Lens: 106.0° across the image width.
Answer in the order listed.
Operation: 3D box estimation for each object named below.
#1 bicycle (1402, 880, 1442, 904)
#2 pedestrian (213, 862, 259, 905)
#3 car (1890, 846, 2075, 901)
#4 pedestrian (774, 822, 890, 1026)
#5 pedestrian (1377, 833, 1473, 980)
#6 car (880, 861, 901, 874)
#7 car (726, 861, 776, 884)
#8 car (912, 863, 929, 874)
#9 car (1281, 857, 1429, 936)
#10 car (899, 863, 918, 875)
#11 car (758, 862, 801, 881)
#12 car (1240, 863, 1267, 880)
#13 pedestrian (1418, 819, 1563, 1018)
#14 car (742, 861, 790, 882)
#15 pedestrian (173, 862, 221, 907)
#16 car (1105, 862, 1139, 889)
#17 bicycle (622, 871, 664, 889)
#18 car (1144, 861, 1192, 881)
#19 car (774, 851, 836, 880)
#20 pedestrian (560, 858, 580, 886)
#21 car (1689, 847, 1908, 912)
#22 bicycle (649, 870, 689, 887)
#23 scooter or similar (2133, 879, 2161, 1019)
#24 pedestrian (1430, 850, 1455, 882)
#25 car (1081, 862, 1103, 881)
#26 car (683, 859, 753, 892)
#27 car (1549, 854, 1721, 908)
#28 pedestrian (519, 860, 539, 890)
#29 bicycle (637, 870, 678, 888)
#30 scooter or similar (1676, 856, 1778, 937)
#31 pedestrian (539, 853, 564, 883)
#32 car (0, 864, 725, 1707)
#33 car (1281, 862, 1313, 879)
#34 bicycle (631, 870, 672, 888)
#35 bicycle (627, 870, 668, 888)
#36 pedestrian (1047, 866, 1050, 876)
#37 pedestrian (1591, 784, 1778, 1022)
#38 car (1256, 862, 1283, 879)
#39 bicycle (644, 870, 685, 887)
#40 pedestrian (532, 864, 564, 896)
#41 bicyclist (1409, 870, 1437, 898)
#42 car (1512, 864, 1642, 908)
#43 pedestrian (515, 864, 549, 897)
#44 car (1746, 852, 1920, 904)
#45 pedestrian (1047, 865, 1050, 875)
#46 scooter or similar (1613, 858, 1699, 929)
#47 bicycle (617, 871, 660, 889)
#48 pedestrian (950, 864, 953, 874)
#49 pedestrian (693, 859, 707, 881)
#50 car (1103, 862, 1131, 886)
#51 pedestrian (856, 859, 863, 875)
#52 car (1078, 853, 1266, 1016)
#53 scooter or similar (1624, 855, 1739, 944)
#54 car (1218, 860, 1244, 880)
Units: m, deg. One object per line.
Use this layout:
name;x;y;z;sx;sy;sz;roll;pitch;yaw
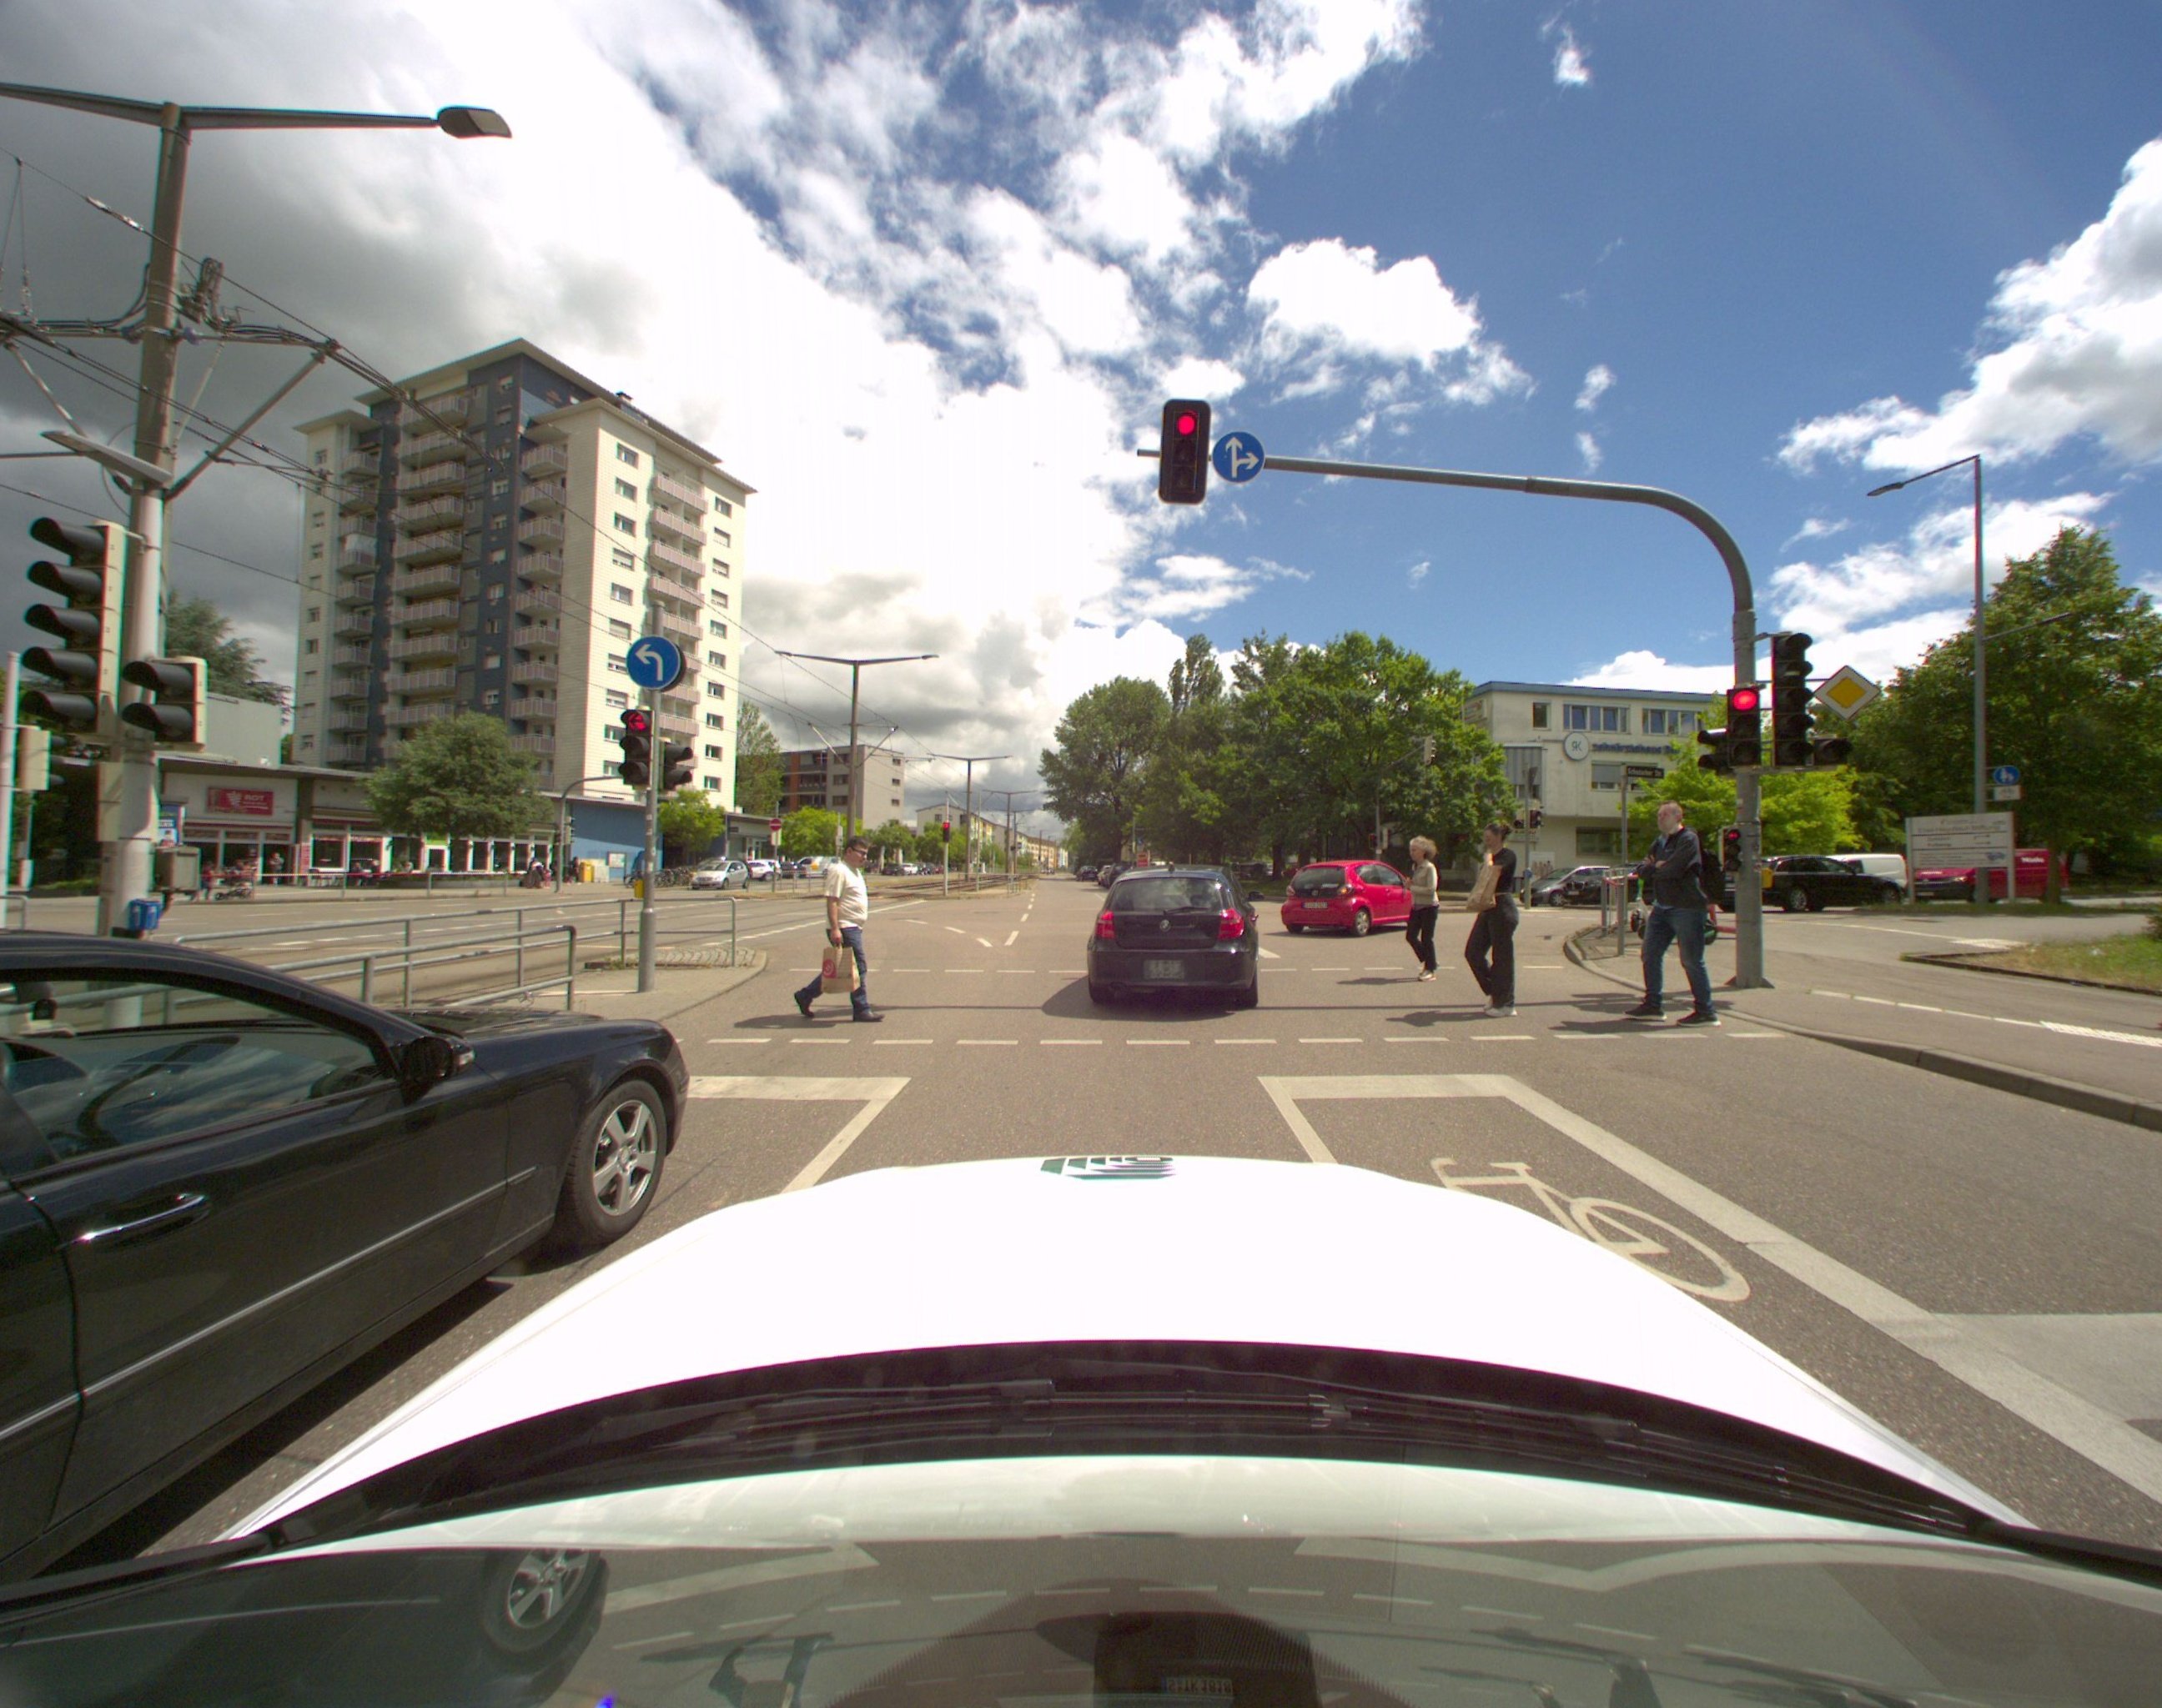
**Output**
bicycle;12.505;1.384;29.903;0.788;0.819;1.808;0;0;2
pedestrian;-32.958;1.139;31.755;0.957;1.659;1.002;-1;-1;28
car;31.860;0.701;28.857;4.800;1.864;1.994;0;-2;-8
pedestrian;-2.294;0.619;7.599;0.866;1.808;0.741;0;0;-2
pedestrian;4.126;0.613;9.842;0.945;1.674;0.874;-1;-1;17
car;-21.794;1.567;93.502;1.758;1.395;3.993;0;0;-5
car;-24.479;1.339;60.398;4.165;1.570;1.973;0;-1;45
car;-21.128;1.903;107.478;1.758;1.395;3.993;0;0;-5
car;5.609;0.784;16.531;3.214;1.441;1.528;0;0;-43
car;-21.357;1.805;100.887;1.758;1.395;3.993;0;0;-5
car;-24.747;1.416;66.789;1.800;1.420;4.166;0;-1;-43
car;16.176;1.622;76.536;1.626;1.573;4.030;0;0;-1
pedestrian;3.858;0.573;7.719;0.933;1.765;0.769;-1;0;-10
car;-24.638;1.336;63.651;4.165;1.538;1.973;0;-1;45
pedestrian;-33.348;1.132;30.734;0.957;1.659;1.002;-1;-1;28
car;2.680;1.398;53.522;2.144;1.684;4.001;0;-1;2
bicycle;-23.345;1.358;43.405;1.943;0.935;0.494;0;-1;-5
car;8.012;1.569;74.918;4.001;1.823;1.766;0;-1;-21
car;-24.446;0.976;71.917;2.848;2.478;6.642;0;-1;-41
pedestrian;-29.581;1.039;47.153;0.767;1.615;0.695;0;-1;-12
car;18.432;0.614;20.993;4.511;1.554;1.991;0;-1;-13
bicycle;-23.271;1.383;45.979;1.943;0.935;0.494;0;-1;-5
scooter or similar;10.589;0.938;7.712;1.247;1.276;0.709;6;-2;-38
pedestrian;18.628;0.624;41.965;0.769;1.643;0.903;0;-1;-14
car;1.063;1.627;76.385;1.986;1.684;4.002;0;0;2
car;-19.730;1.137;44.423;1.930;1.693;3.874;0;0;2
car;18.507;0.871;27.325;4.551;1.717;1.996;0;0;-5
pedestrian;-30.300;1.129;44.702;0.770;1.615;0.693;0;-1;-22
bicycle;-23.377;1.373;44.934;1.943;0.935;0.494;0;-1;-5
scooter or similar;10.324;0.665;13.023;1.225;1.240;0.555;2;0;-7
pedestrian;-34.356;0.927;52.828;0.863;1.917;1.212;0;0;-5
car;-2.733;0.771;1.830;1.721;1.461;4.546;0;0;2
car;20.744;1.587;78.264;1.728;1.595;3.992;0;0;-5
bicycle;-23.391;1.368;44.387;1.943;0.935;0.494;0;-1;-5
bicycle;-23.368;1.363;43.911;1.943;0.935;0.494;0;-1;-5
pedestrian;-5.286;2.752;132.058;0.334;1.627;0.356;0;-1;-16
pedestrian;5.227;0.400;7.117;0.963;1.942;0.896;0;0;-3
car;17.995;1.558;77.847;1.626;1.595;3.998;0;0;-1
bicycle;-23.251;1.378;45.476;1.943;0.935;0.494;0;-1;-5
pedestrian;-28.190;1.388;43.073;0.939;1.659;1.101;-1;-1;7
bicyclist;12.497;1.090;29.759;0.788;1.022;0.636;0;-1;1
car;18.839;1.182;31.040;3.906;1.555;1.994;0;0;-9
pedestrian;-28.271;1.358;41.928;0.939;1.659;1.101;-1;-1;7
car;26.035;0.814;28.279;4.555;1.717;1.995;0;0;-8
pedestrian;-5.239;2.614;132.027;0.477;1.637;0.454;0;-1;1
scooter or similar;9.842;0.675;13.937;1.360;1.156;0.540;1;0;-23
bicycle;-23.309;1.354;42.938;1.943;0.935;0.494;0;-1;-5
pedestrian;-21.116;2.388;132.540;0.451;1.637;0.480;0;-1;-1
pedestrian;-28.162;1.201;60.223;0.768;1.615;0.695;0;-1;-15
car;2.685;1.497;60.975;1.986;1.684;4.001;0;-1;2
pedestrian;-23.362;1.394;85.922;0.547;1.716;0.667;0;-1;-8
car;1.211;0.735;9.559;1.741;1.487;4.012;0;0;11
scooter or similar;8.936;0.664;12.151;1.336;1.277;0.463;0;0;8
car;13.951;1.504;75.857;1.626;1.811;4.030;0;0;-1
